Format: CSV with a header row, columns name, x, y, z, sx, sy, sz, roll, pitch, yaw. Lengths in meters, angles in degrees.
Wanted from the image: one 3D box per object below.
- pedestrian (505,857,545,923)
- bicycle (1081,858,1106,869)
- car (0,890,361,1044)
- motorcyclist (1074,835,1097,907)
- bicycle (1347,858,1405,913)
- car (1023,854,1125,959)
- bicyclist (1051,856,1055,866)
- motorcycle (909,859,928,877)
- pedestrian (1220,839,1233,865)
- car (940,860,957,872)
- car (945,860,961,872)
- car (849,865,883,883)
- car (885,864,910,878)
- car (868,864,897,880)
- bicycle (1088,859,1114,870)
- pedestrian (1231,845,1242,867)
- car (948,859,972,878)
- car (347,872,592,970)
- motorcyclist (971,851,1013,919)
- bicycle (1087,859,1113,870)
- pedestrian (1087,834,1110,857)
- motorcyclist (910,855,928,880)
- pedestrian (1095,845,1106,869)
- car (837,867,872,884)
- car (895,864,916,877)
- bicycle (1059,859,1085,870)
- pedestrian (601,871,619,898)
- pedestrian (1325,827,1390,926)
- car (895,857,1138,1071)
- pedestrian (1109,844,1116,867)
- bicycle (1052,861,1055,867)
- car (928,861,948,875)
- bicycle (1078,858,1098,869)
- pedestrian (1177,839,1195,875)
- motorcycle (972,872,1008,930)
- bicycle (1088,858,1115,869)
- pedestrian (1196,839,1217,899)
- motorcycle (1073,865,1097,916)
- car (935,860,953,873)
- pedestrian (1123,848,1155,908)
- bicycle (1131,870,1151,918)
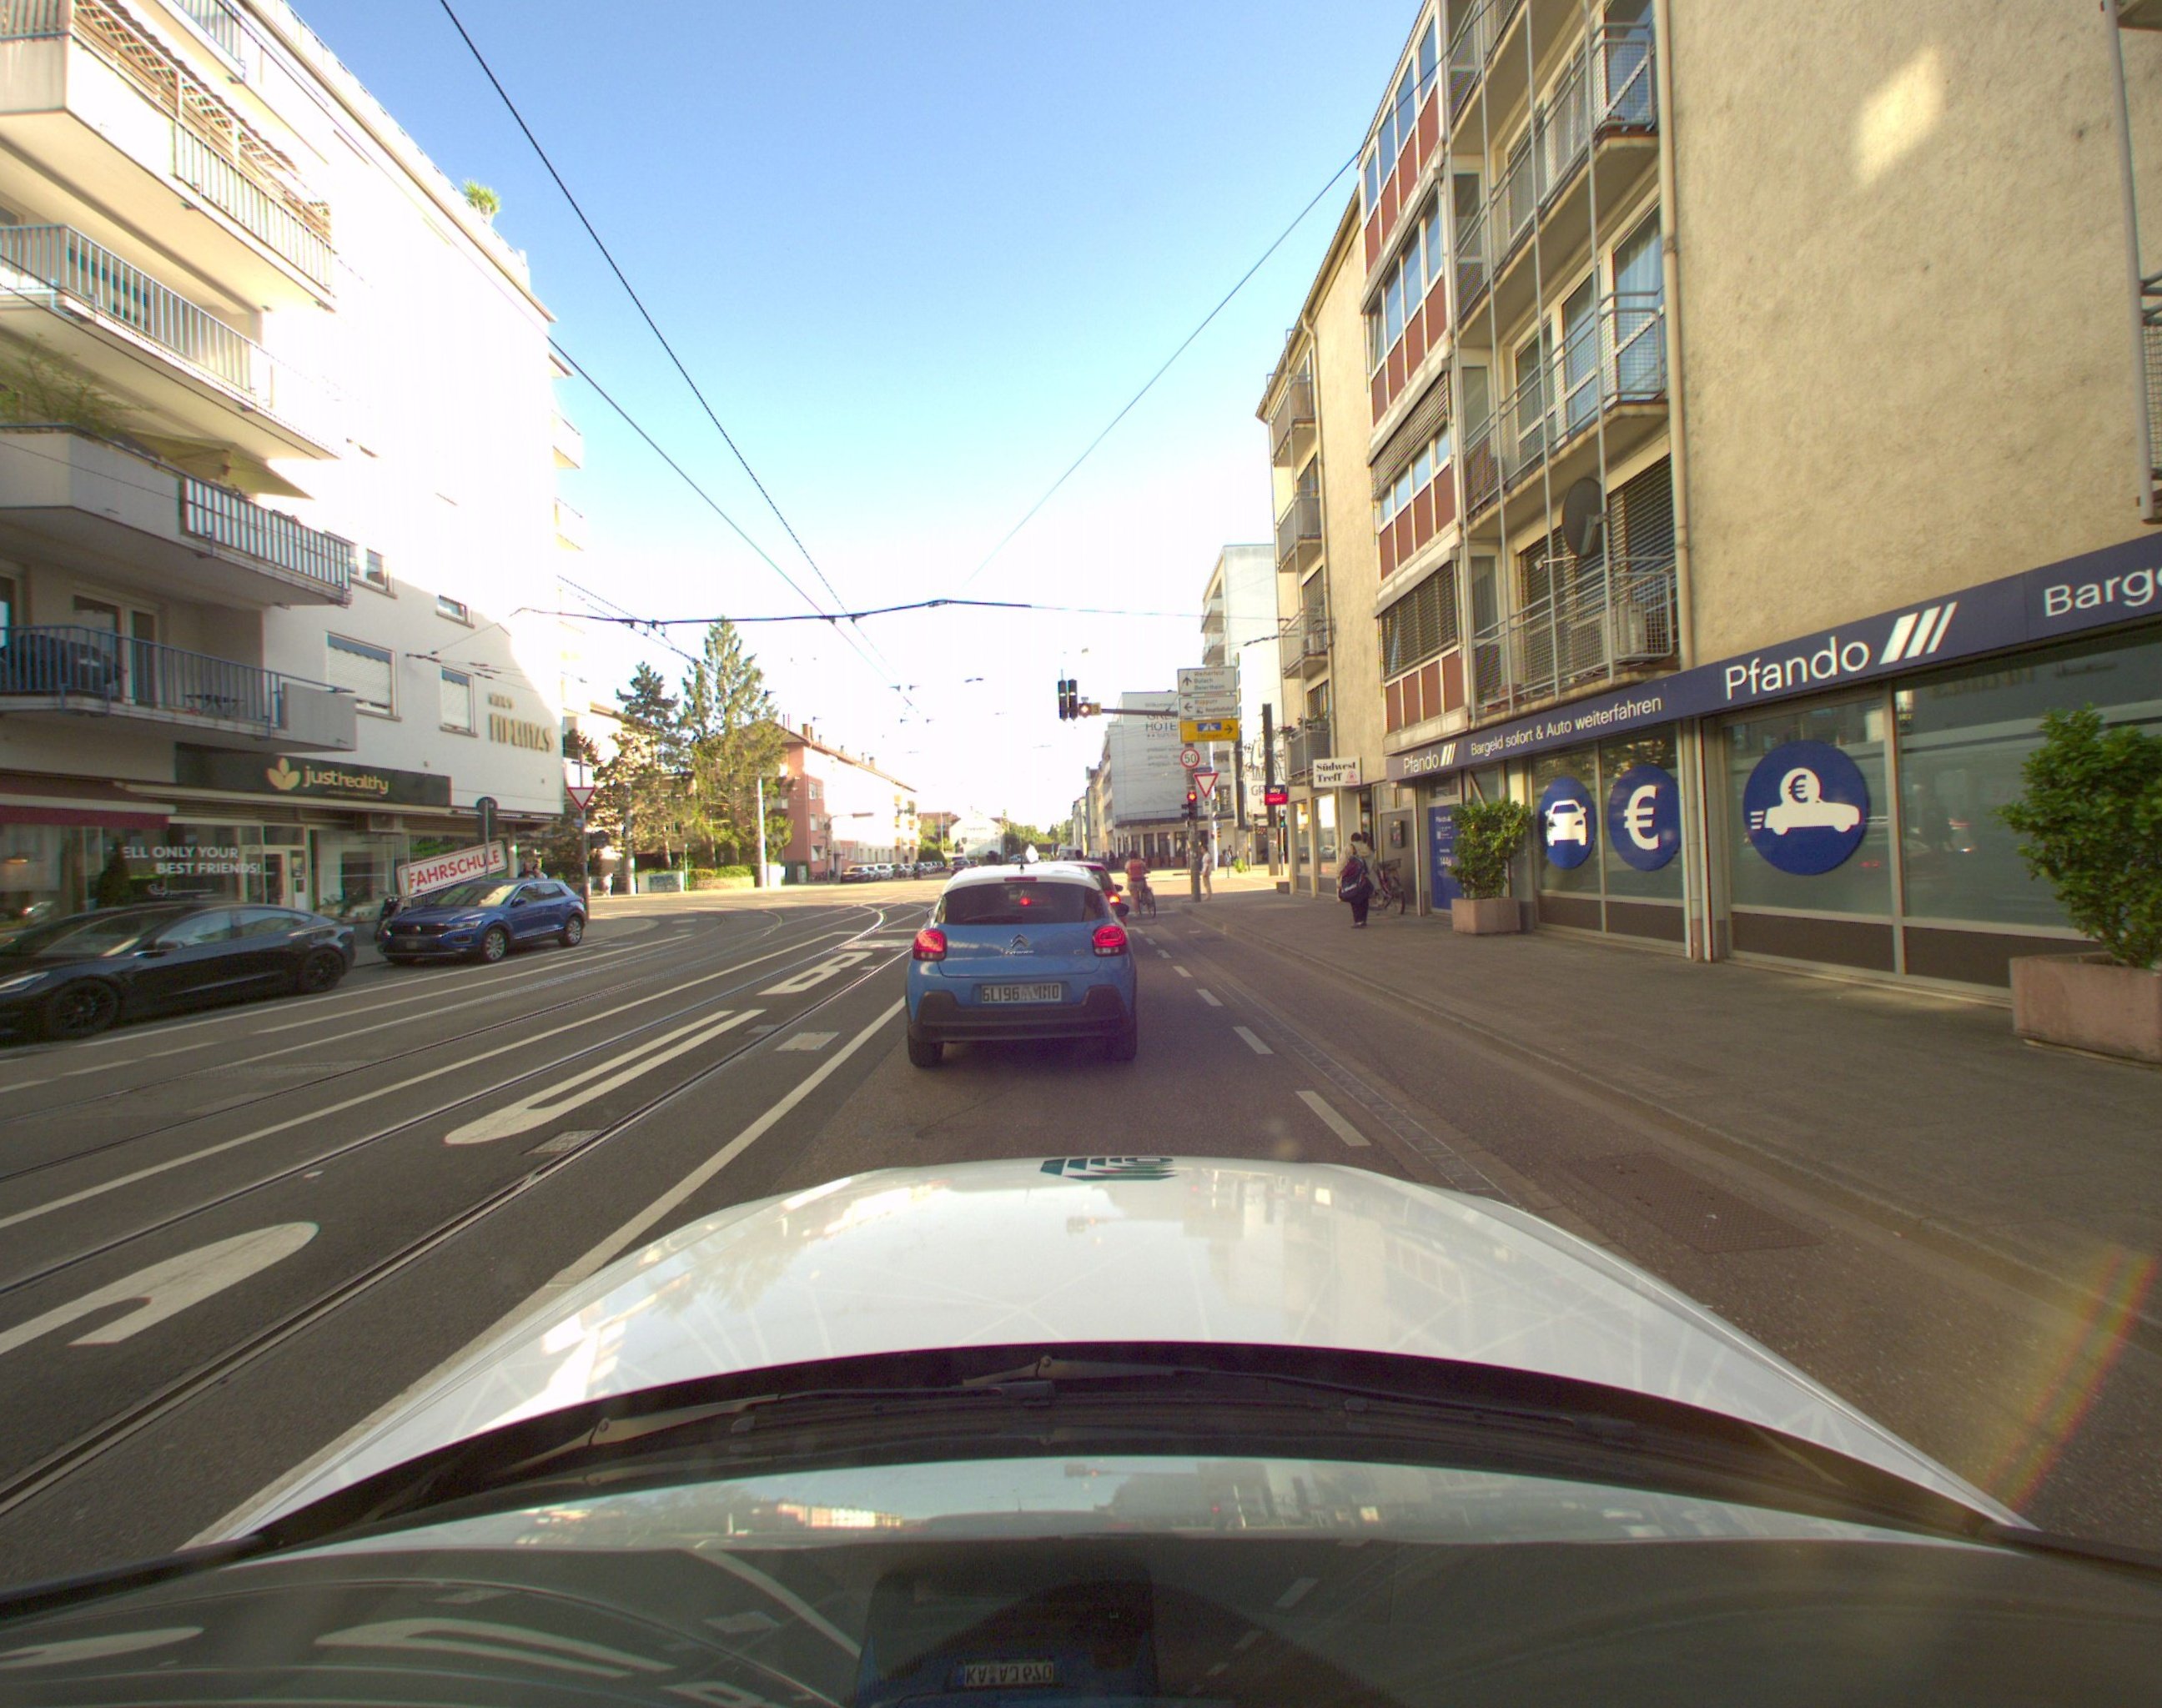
name,x,y,z,sx,sy,sz,roll,pitch,yaw
pedestrian,-17.335,1.101,25.411,0.767,2.014,0.694,0,-1,-4
bicycle,1.050,0.824,68.468,2.130,0.901,0.366,0,-1,-7
car,-12.090,1.292,10.432,1.816,1.387,4.425,-2,0,-2
motorcyclist,0.119,0.402,19.740,0.524,1.716,0.717,0,-1,1
bicycle,5.698,0.583,15.816,0.540,0.998,1.706,0,-1,2
car,-0.050,0.779,13.279,1.419,1.467,2.925,-2,-1,2
bicyclist,-4.098,1.036,120.682,0.559,1.477,0.747,0,-1,0
motorcycle,-13.488,1.137,67.617,0.921,1.486,3.724,0,-1,-1
pedestrian,11.166,-0.150,62.313,0.750,2.014,0.716,-1,-1,33
car,-19.073,1.778,117.304,1.828,1.687,3.998,0,-1,-1
car,-19.124,1.773,122.002,1.841,1.687,3.872,0,-1,-1
car,-19.470,1.787,73.942,1.808,1.498,4.302,0,-1,2
car,-19.480,1.794,86.726,1.781,1.498,3.998,0,-1,-1
car,-19.455,1.747,79.853,1.781,1.511,4.150,0,-1,1
bicycle,1.620,0.869,67.085,2.130,0.901,0.366,0,-1,-7
pedestrian,11.233,0.160,58.761,0.730,1.601,0.751,-1,-1,15
car,-11.394,1.347,76.854,1.770,1.666,3.854,0,-1,-2
car,-11.912,1.219,16.289,1.864,1.531,4.068,-2,0,-2
motorcyclist,-1.989,0.692,18.329,0.857,1.505,0.598,0,-1,1
bicycle,1.577,0.854,67.486,2.130,0.901,0.366,0,-1,-7
pedestrian,1.629,-0.723,73.681,1.986,2.014,4.001,0,-1,2
motorcyclist,-13.489,1.086,67.713,1.182,2.013,1.275,-2,0,-1
pedestrian,1.689,0.277,69.320,0.635,2.014,0.717,0,-1,-34
car,-19.244,1.817,69.421,1.787,1.421,3.996,0,-1,1
car,-19.983,1.857,92.841,1.728,1.498,3.996,0,-1,-2
bicycle,-0.719,0.881,66.449,2.130,0.901,0.366,0,-1,-7
pedestrian,-31.281,2.001,54.088,0.902,1.791,0.803,0,-1,-16
pedestrian,4.575,0.364,13.510,0.822,1.593,0.751,0,-1,1
car,-0.383,0.765,7.305,1.648,1.444,3.524,0,-1,2
pedestrian,2.735,0.146,70.334,0.575,2.014,0.625,0,-1,-1
bicycle,-4.089,1.453,121.121,0.347,0.903,1.859,0,-1,0
car,-18.686,1.810,106.834,1.978,1.687,3.998,0,-1,-1
bicycle,0.587,0.823,69.404,1.765,0.901,0.369,-1,-1,36
pedestrian,6.055,0.174,46.937,0.922,2.014,0.760,0,-1,1
motorcycle,-2.048,1.033,18.523,0.535,1.219,1.982,0,-1,2
bicycle,1.686,0.775,66.053,2.130,0.901,0.366,0,-1,-7
pedestrian,3.734,0.440,24.312,0.515,1.783,0.595,0,-1,0
motorcycle,0.113,0.835,19.548,0.524,1.139,2.290,0,-1,2
car,-18.870,1.689,111.971,1.877,1.687,3.998,0,-1,-1
pedestrian,1.439,0.585,20.313,0.774,1.460,0.682,0,-1,1
bicycle,1.507,0.976,20.579,0.426,1.123,1.999,0,-1,2
